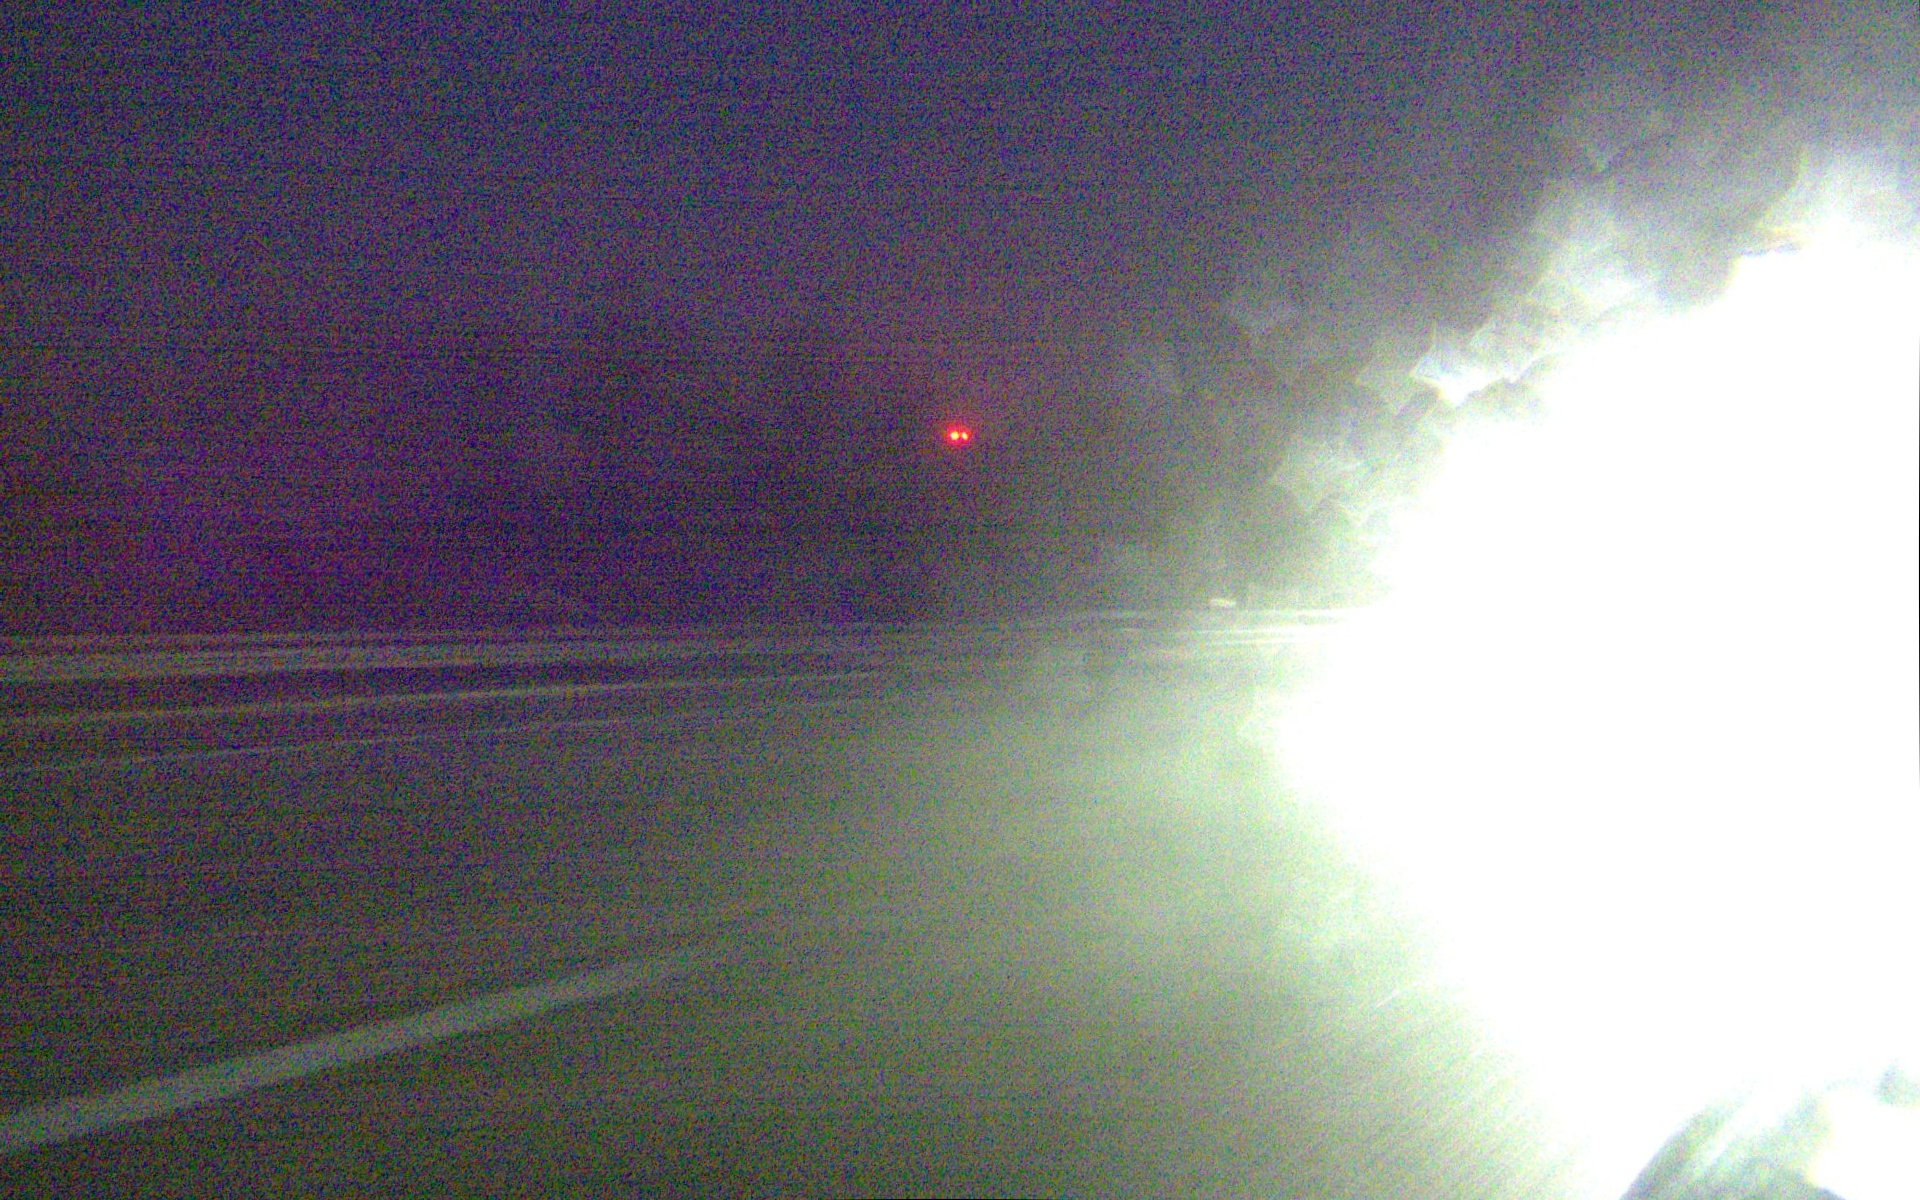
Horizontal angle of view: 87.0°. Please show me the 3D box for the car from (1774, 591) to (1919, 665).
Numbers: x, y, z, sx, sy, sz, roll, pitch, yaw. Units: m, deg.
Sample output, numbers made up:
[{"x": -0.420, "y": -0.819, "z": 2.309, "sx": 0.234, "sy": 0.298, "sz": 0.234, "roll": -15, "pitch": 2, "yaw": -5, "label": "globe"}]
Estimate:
[{"x": 20.609, "y": 0.569, "z": 23.420, "sx": 4.930, "sy": 1.538, "sz": 2.060, "roll": 0, "pitch": 0, "yaw": -43, "label": "car"}]

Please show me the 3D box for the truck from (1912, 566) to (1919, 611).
[{"x": 95.910, "y": -1.116, "z": 99.701, "sx": 2.758, "sy": 4.273, "sz": 6.100, "roll": 4, "pitch": 4, "yaw": 42, "label": "truck"}]

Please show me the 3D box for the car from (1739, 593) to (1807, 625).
[{"x": 40.807, "y": 0.456, "z": 50.793, "sx": 3.968, "sy": 1.516, "sz": 1.724, "roll": 1, "pitch": -1, "yaw": -37, "label": "car"}]
